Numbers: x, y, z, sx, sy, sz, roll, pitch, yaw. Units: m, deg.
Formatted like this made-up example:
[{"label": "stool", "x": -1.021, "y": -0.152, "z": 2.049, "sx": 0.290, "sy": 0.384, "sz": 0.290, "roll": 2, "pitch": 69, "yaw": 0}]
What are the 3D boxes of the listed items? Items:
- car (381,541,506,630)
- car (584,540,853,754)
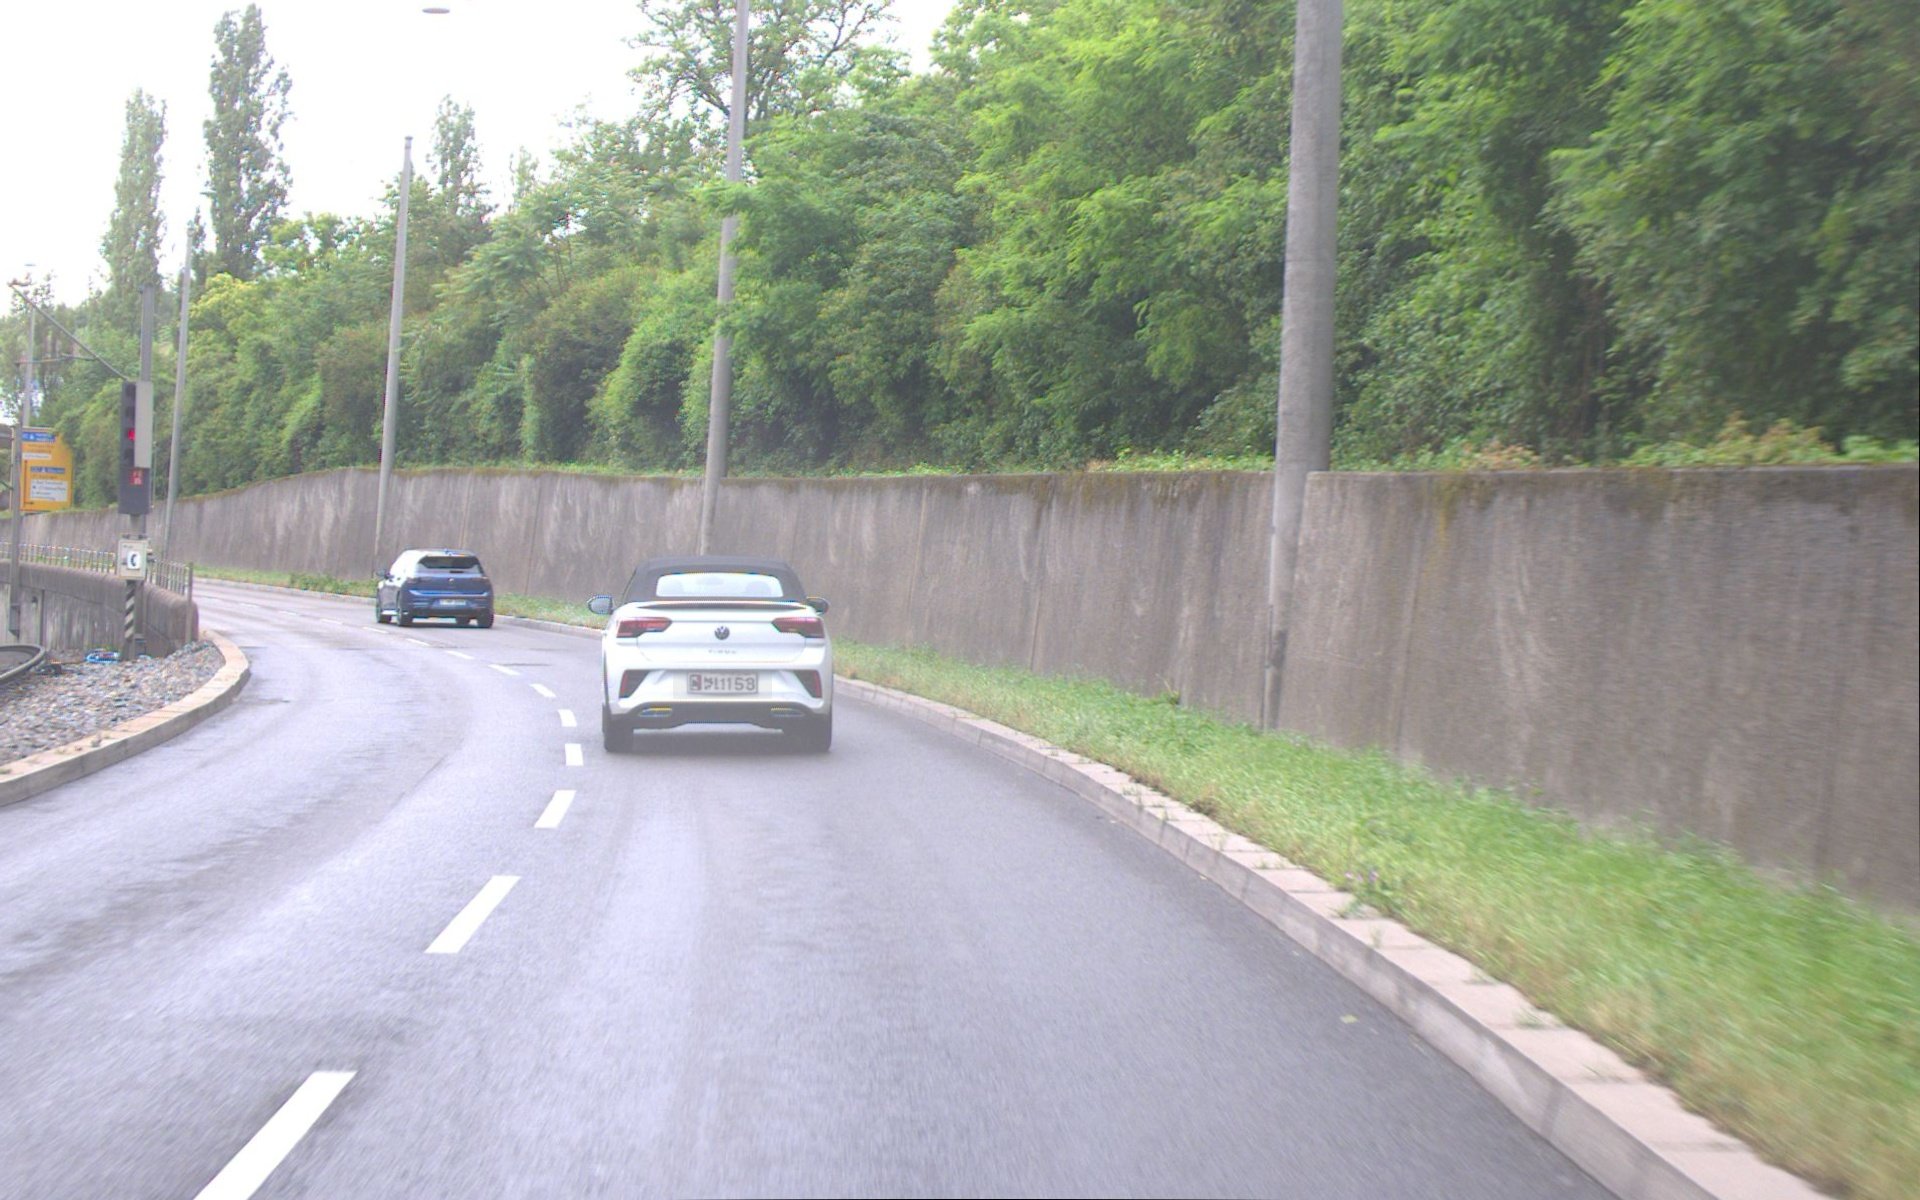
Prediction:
[{"label": "car", "x": -9.842, "y": -0.297, "z": 65.283, "sx": 1.925, "sy": 1.594, "sz": 4.063, "roll": 1, "pitch": 1, "yaw": -14}, {"label": "car", "x": -2.009, "y": 0.318, "z": 27.943, "sx": 1.995, "sy": 1.573, "sz": 4.126, "roll": 1, "pitch": 1, "yaw": -5}]
